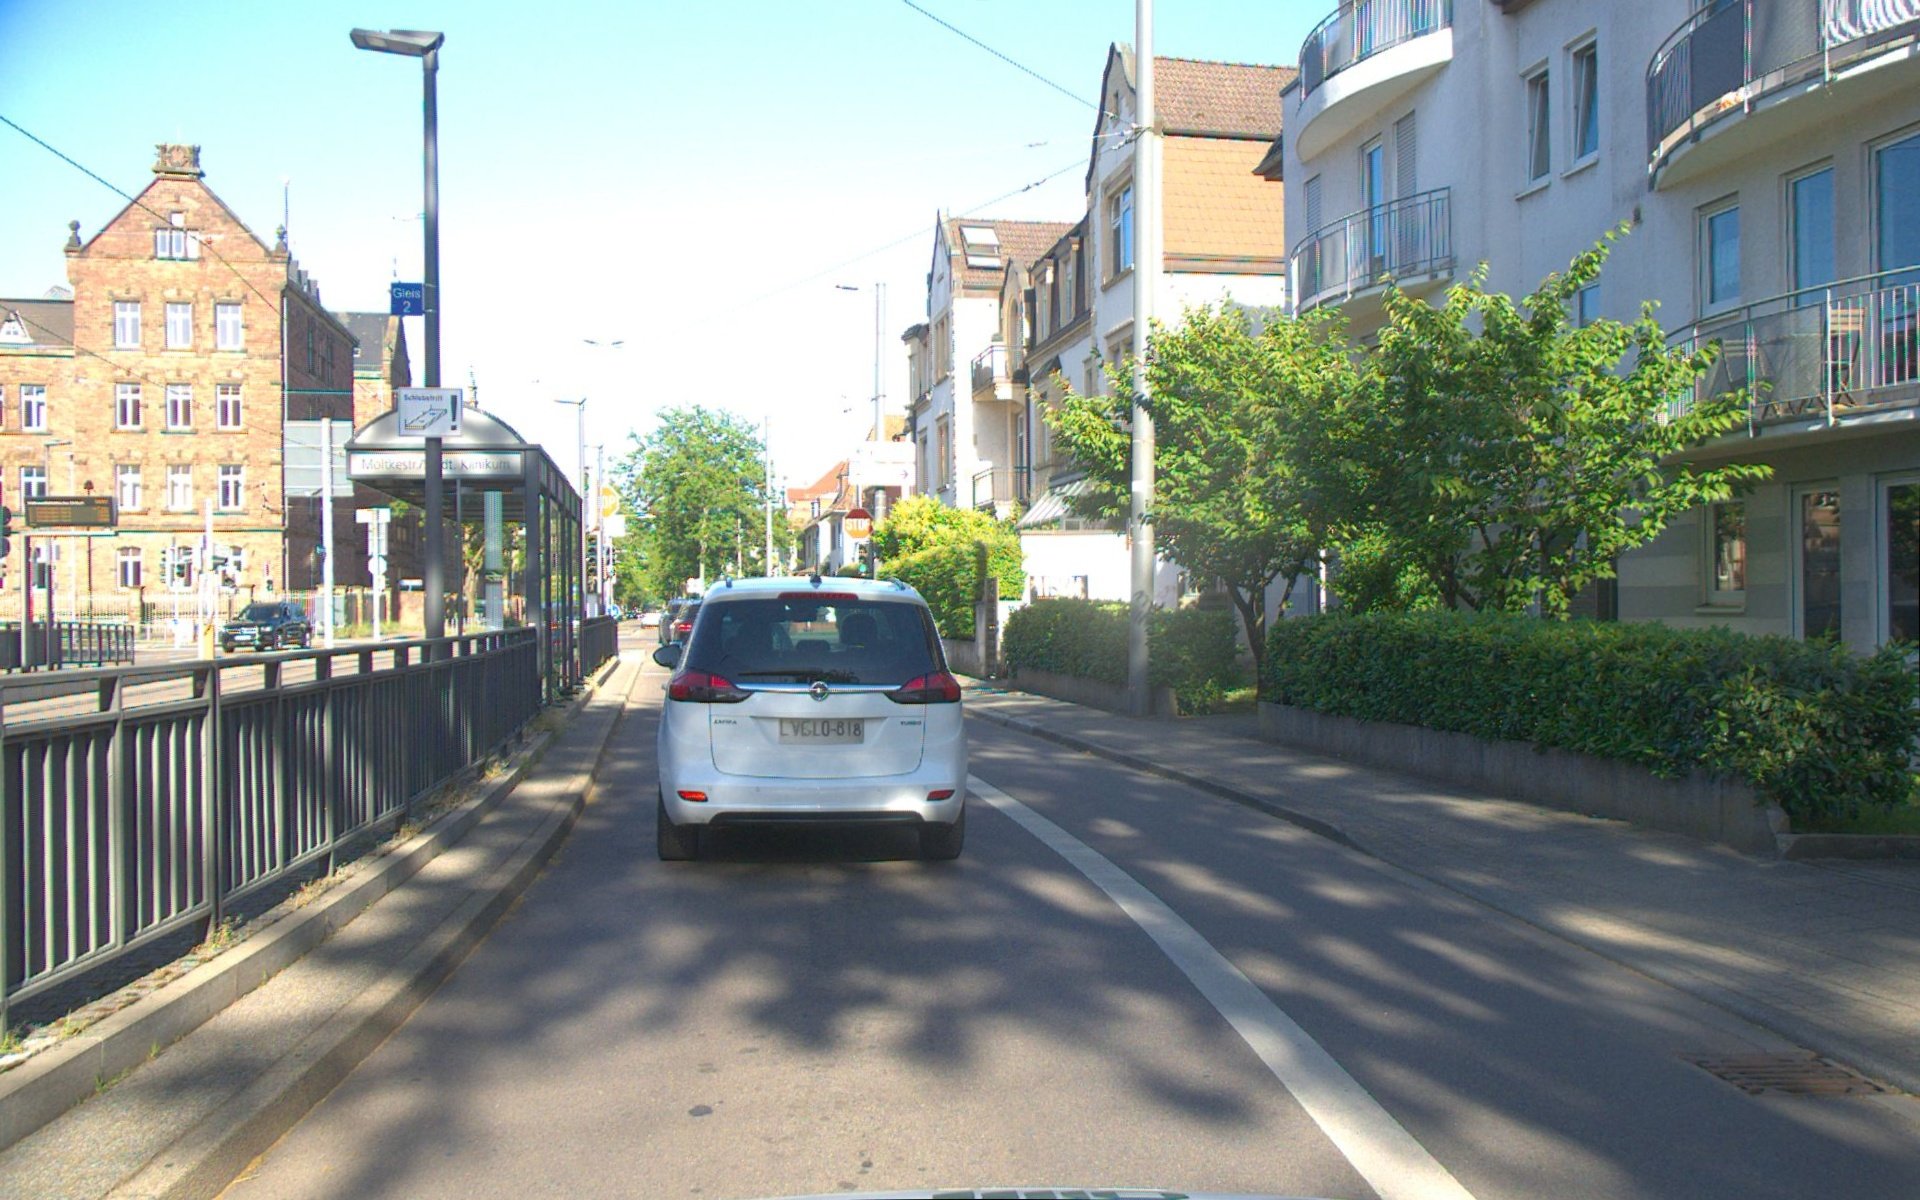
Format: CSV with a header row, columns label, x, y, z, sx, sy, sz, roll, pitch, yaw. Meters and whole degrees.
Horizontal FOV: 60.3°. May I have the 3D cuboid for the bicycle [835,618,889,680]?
label,x,y,z,sx,sy,sz,roll,pitch,yaw
bicycle,-1.951,0.946,32.745,0.814,1.175,2.089,0,-1,-11

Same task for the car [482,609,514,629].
label,x,y,z,sx,sy,sz,roll,pitch,yaw
car,-36.928,1.520,132.311,1.956,1.624,3.993,0,-1,-8

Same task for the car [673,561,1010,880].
label,x,y,z,sx,sy,sz,roll,pitch,yaw
car,-0.932,0.651,10.761,1.801,1.671,3.909,0,-1,-9

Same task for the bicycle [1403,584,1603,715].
label,x,y,z,sx,sy,sz,roll,pitch,yaw
bicycle,5.795,0.515,17.690,1.808,1.224,0.823,-4,0,-11

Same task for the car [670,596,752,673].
label,x,y,z,sx,sy,sz,roll,pitch,yaw
car,-5.731,0.775,37.797,1.743,1.660,3.871,0,-1,-10

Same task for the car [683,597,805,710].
label,x,y,z,sx,sy,sz,roll,pitch,yaw
car,-3.093,0.696,23.580,1.557,1.445,3.893,-1,0,-8

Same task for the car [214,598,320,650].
label,x,y,z,sx,sy,sz,roll,pitch,yaw
car,-23.747,0.804,56.874,1.868,1.706,4.357,0,0,-1

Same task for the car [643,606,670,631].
label,x,y,z,sx,sy,sz,roll,pitch,yaw
car,-21.739,1.312,118.431,1.743,1.722,3.873,0,-1,-8

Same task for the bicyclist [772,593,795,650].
label,x,y,z,sx,sy,sz,roll,pitch,yaw
bicyclist,-5.227,0.625,48.982,0.673,1.663,1.014,0,-1,-8

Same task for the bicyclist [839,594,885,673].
label,x,y,z,sx,sy,sz,roll,pitch,yaw
bicyclist,-1.949,0.662,32.718,0.806,1.528,0.932,0,-1,-11

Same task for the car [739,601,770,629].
label,x,y,z,sx,sy,sz,roll,pitch,yaw
car,-12.200,0.891,97.988,1.743,1.660,3.873,0,-1,-8
